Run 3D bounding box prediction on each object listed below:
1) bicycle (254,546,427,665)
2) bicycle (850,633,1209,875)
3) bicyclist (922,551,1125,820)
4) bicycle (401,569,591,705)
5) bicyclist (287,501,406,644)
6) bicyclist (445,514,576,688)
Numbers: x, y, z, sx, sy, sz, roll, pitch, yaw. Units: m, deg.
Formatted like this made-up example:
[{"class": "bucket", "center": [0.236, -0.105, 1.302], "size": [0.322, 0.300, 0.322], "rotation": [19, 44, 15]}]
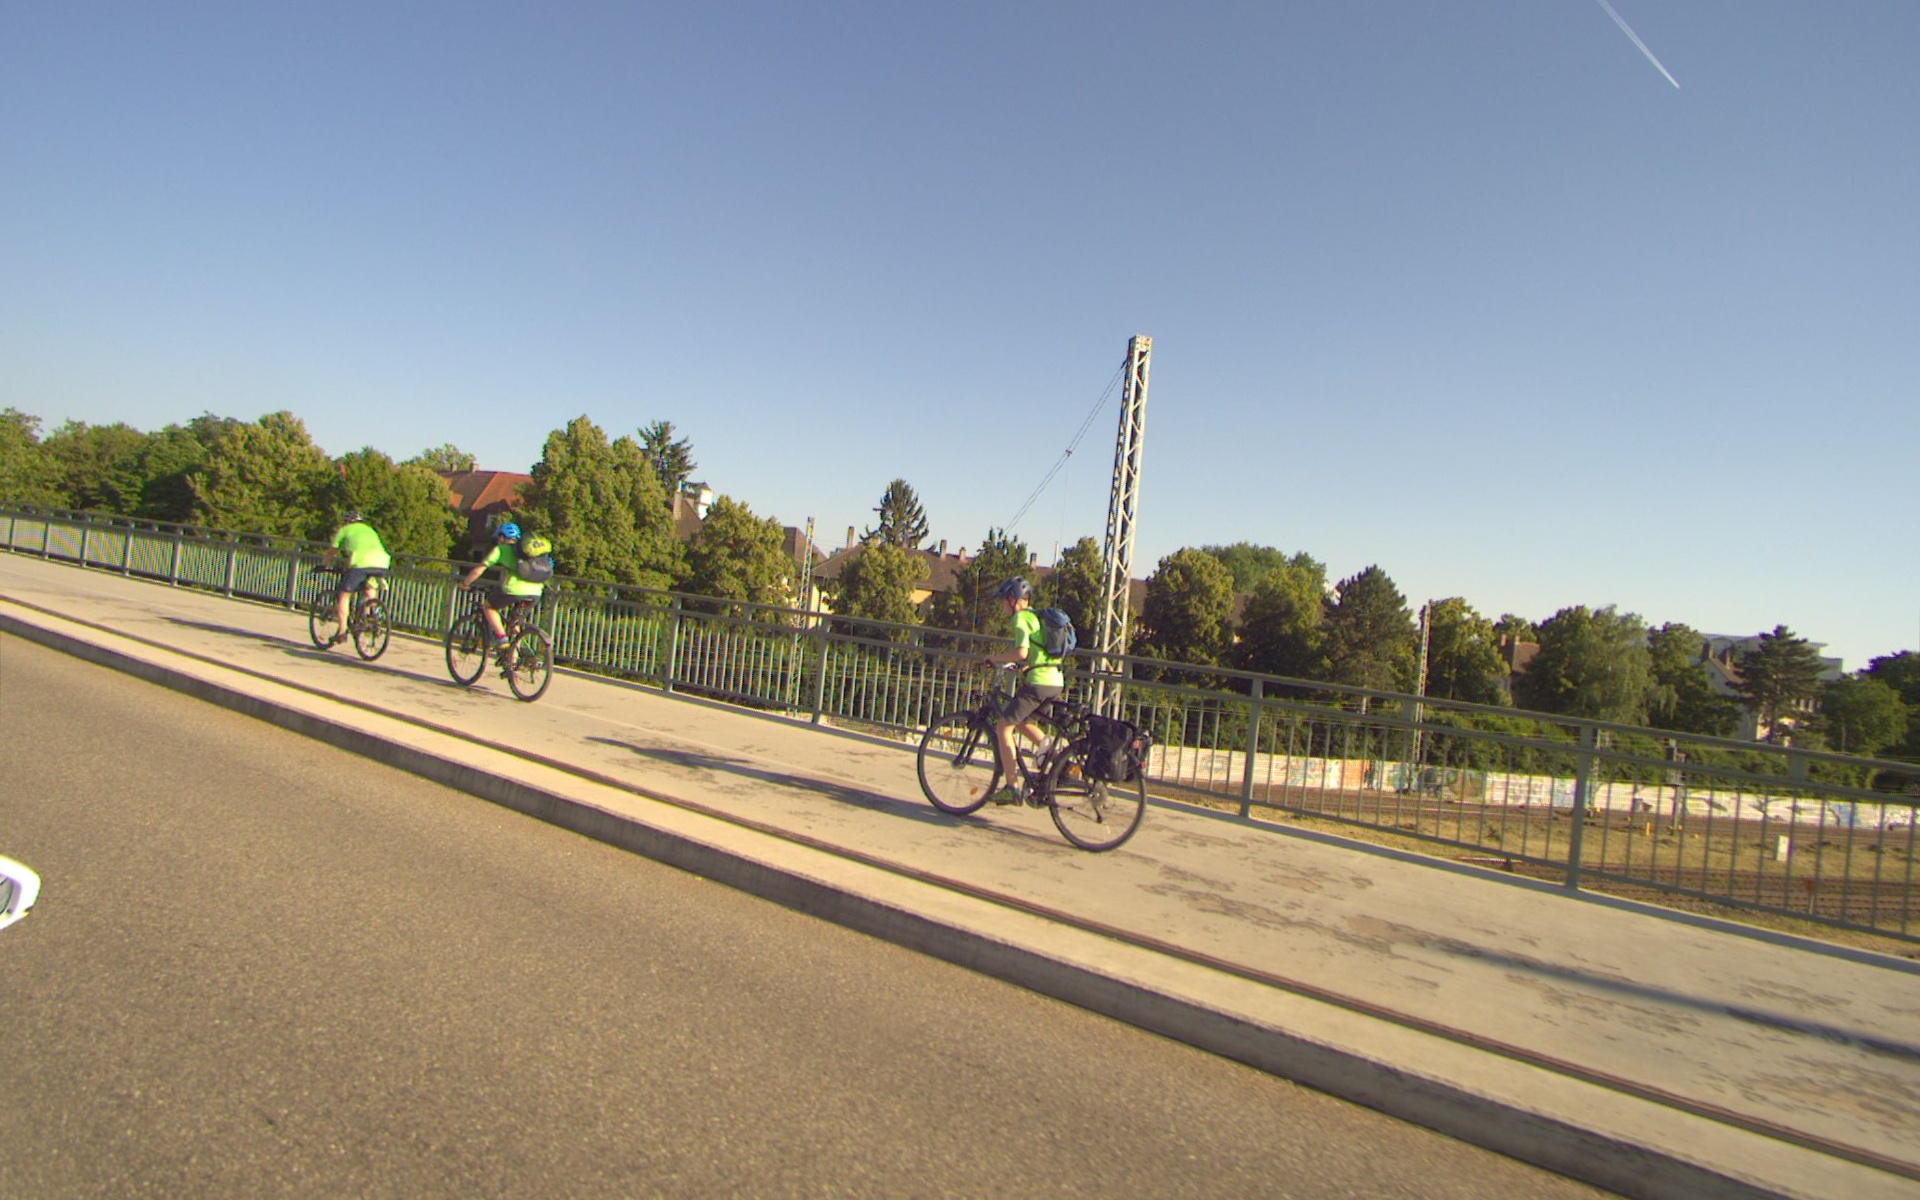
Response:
[{"class": "bicycle", "center": [-7.249, 0.050, 11.733], "size": [2.221, 1.135, 0.626], "rotation": [6, -1, 30]}, {"class": "bicycle", "center": [0.411, 0.939, 6.660], "size": [2.179, 1.136, 0.684], "rotation": [7, -1, 32]}, {"class": "bicyclist", "center": [0.435, 0.547, 6.684], "size": [0.881, 1.581, 0.813], "rotation": [7, -1, 31]}, {"class": "bicycle", "center": [-4.689, 0.351, 10.108], "size": [2.008, 1.135, 0.626], "rotation": [5, -2, 32]}, {"class": "bicyclist", "center": [-7.139, -0.316, 11.703], "size": [0.989, 1.526, 0.626], "rotation": [6, -1, 29]}, {"class": "bicyclist", "center": [-4.495, 0.010, 10.062], "size": [0.915, 1.611, 0.626], "rotation": [6, -1, 32]}]
